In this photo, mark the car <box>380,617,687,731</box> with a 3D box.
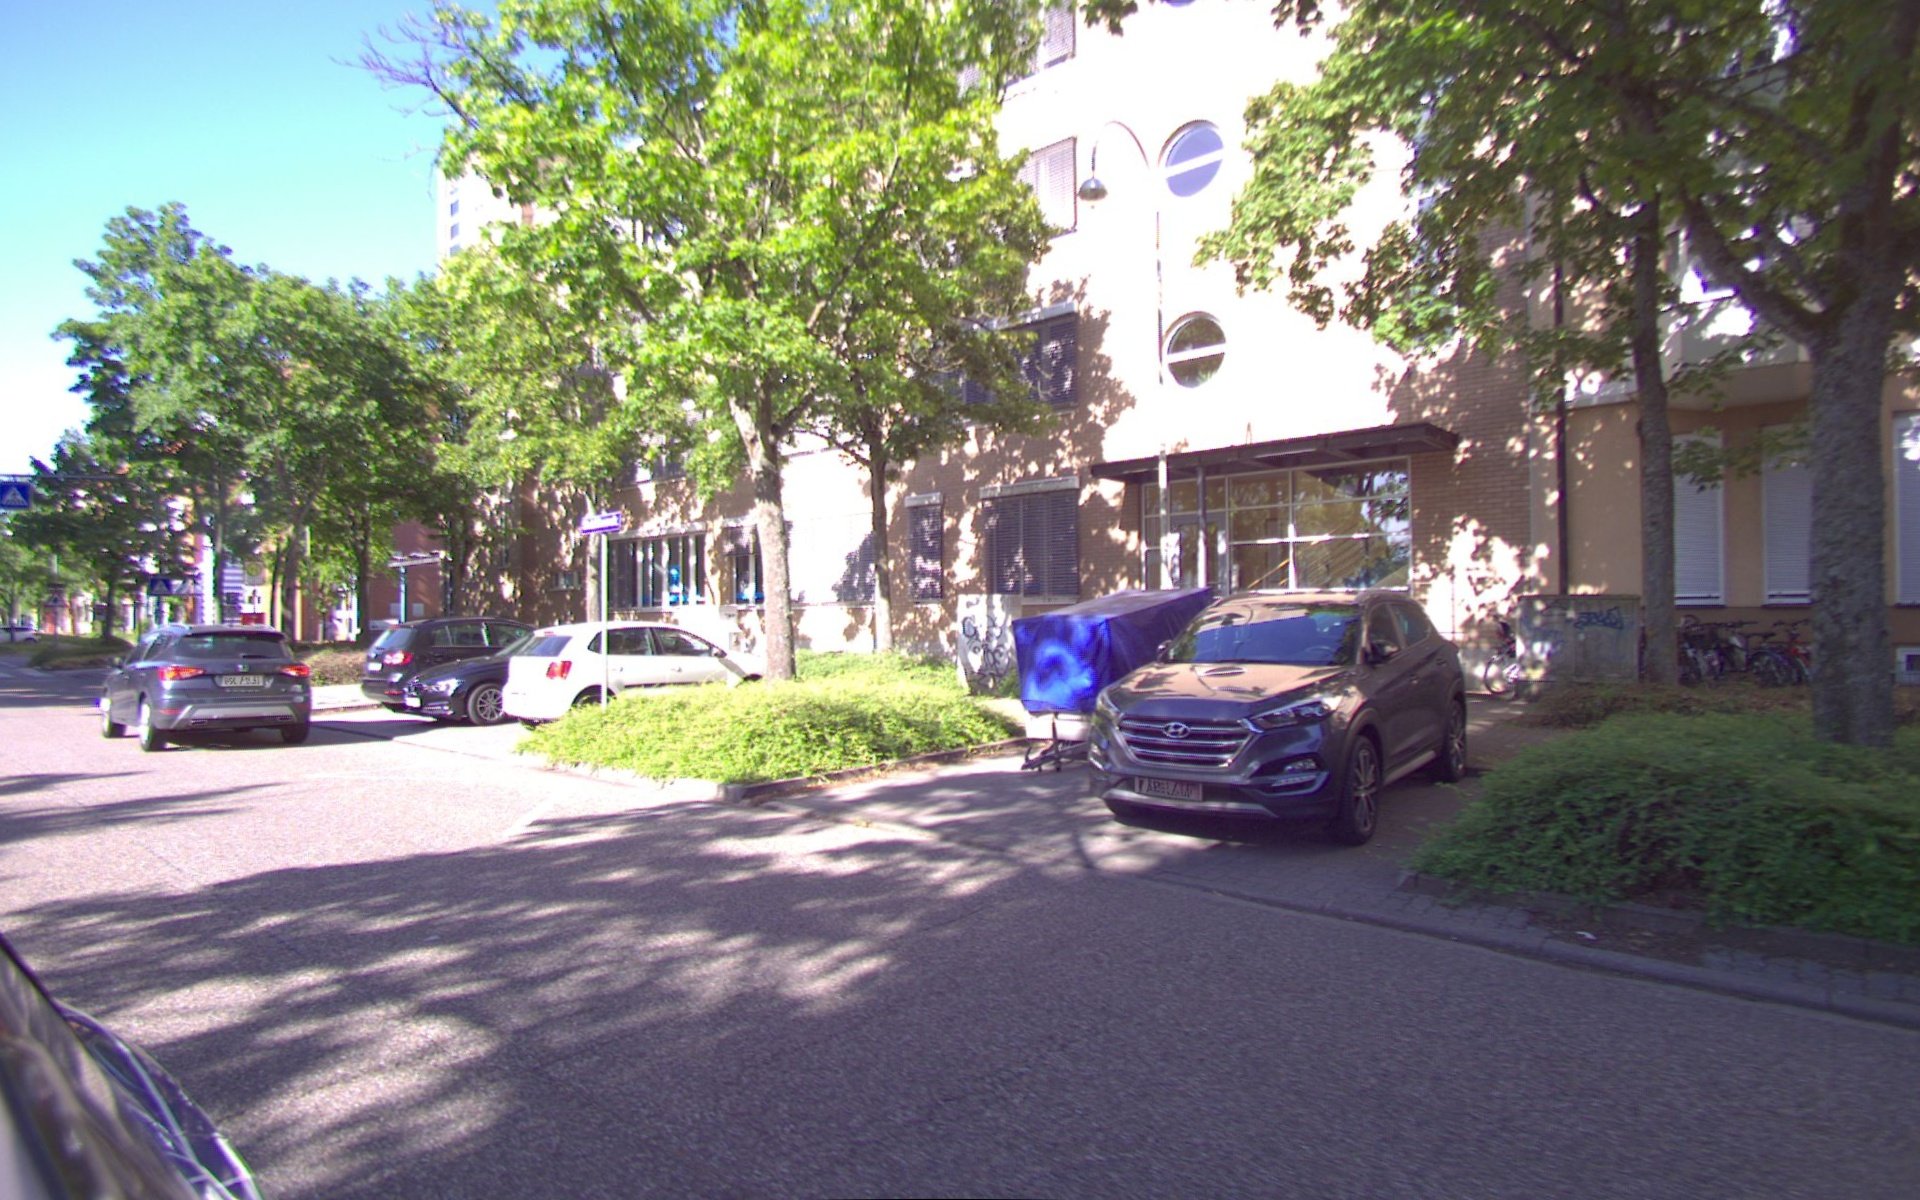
[{"bbox_3d":[-6.626,1.069,16.075,1.800,1.413,4.109,-2,0,40],"label":"car"}]

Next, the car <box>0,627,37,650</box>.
[{"bbox_3d":[-64.430,2.609,67.553,1.617,1.430,3.952,-2,-1,40],"label":"car"}]

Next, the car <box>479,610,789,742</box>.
[{"bbox_3d":[-4.423,0.939,14.094,1.754,1.463,3.714,-2,0,42],"label":"car"}]

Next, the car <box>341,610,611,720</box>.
[{"bbox_3d":[-8.475,1.052,17.992,1.727,1.582,3.946,-2,1,40],"label":"car"}]

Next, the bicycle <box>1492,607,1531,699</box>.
[{"bbox_3d":[8.044,0.737,14.794,0.449,1.238,1.681,-1,0,28],"label":"bicycle"}]

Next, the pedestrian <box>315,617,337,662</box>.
[{"bbox_3d":[-28.888,1.806,46.126,0.673,1.930,0.615,14,10,42],"label":"pedestrian"}]

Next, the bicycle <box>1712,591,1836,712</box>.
[{"bbox_3d":[10.232,0.607,12.794,0.609,1.419,1.720,-1,0,18],"label":"bicycle"}]

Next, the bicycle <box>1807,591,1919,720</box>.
[{"bbox_3d":[10.778,0.613,12.084,0.611,1.419,1.714,-1,0,27],"label":"bicycle"}]

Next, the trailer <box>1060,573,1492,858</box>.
[{"bbox_3d":[2.698,0.633,7.880,1.853,1.584,4.221,-2,0,37],"label":"trailer"}]

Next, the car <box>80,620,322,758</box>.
[{"bbox_3d":[-10.006,1.049,13.234,3.998,1.523,1.761,-2,-2,41],"label":"car"}]

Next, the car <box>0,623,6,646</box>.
[{"bbox_3d":[-81.280,2.835,82.325,2.000,1.901,5.247,-2,-2,42],"label":"car"}]

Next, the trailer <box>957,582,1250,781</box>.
[{"bbox_3d":[1.519,0.703,10.282,1.711,1.700,2.697,-2,-1,41],"label":"trailer"}]

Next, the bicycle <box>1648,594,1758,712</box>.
[{"bbox_3d":[9.601,0.639,13.145,0.609,1.419,1.720,-1,0,18],"label":"bicycle"}]
